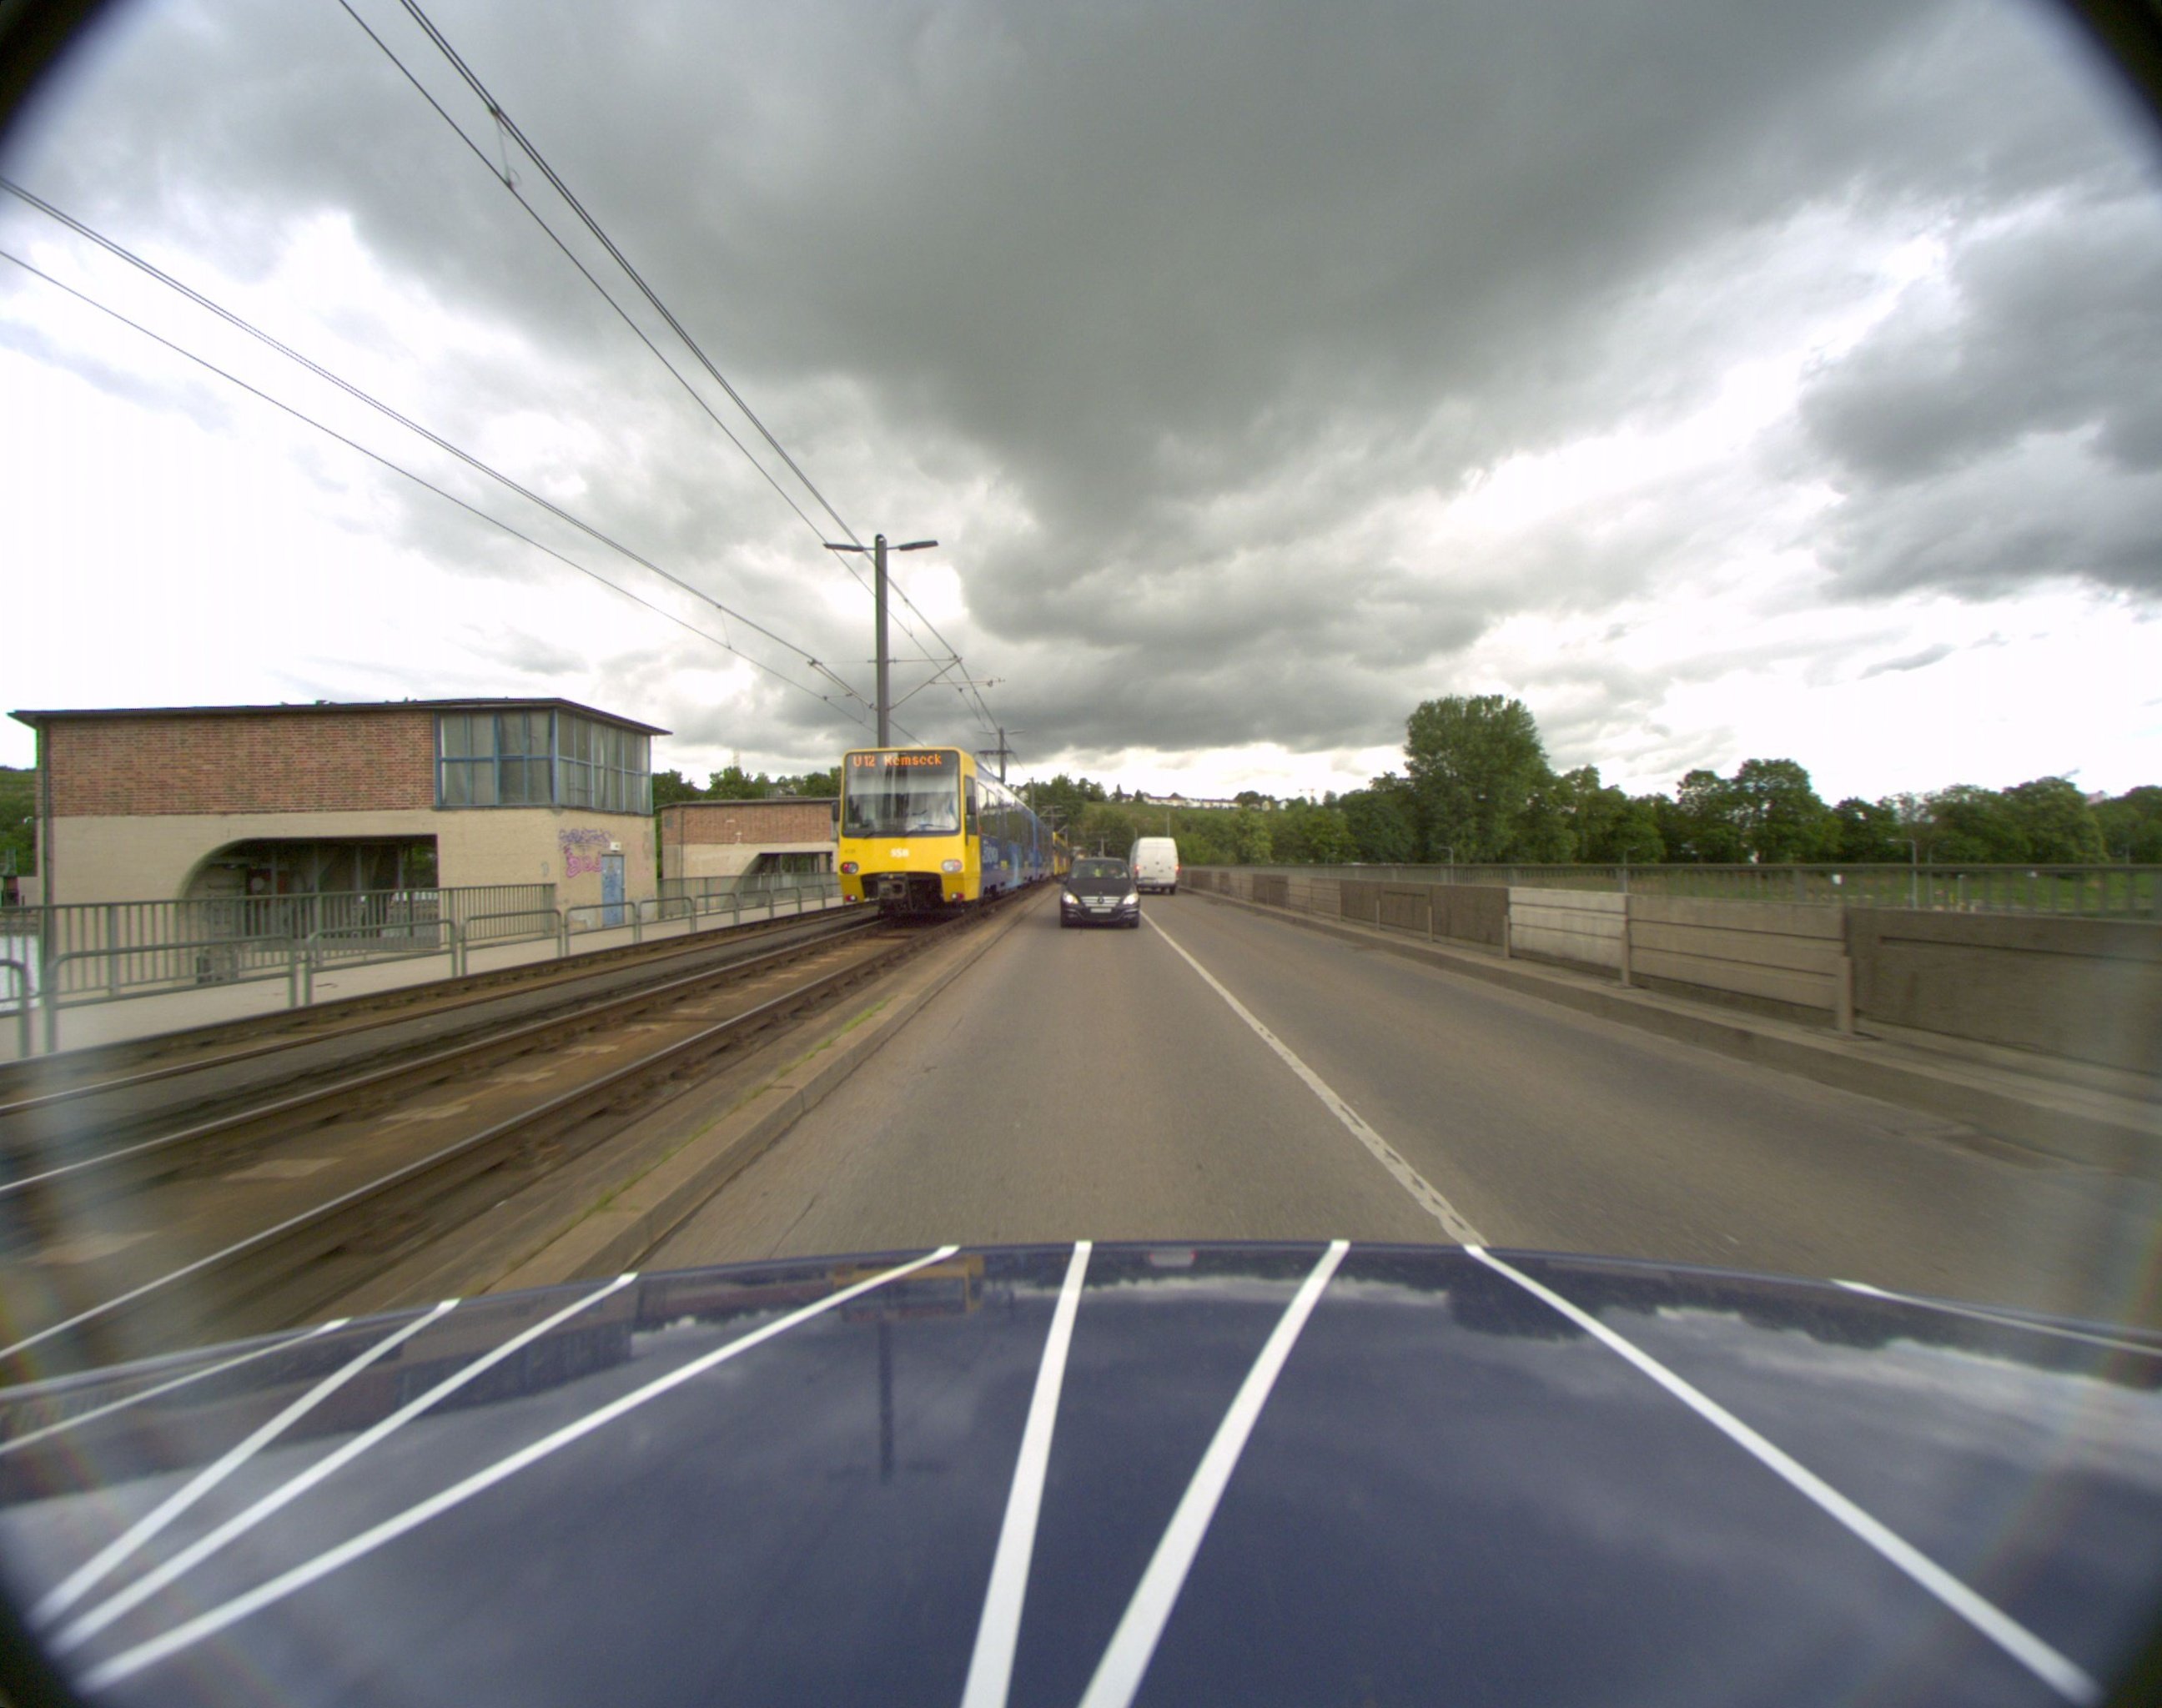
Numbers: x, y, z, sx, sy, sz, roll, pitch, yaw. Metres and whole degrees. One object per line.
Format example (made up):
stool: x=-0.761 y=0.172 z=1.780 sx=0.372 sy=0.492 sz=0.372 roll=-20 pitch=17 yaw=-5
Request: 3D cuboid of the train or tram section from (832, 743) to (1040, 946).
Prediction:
train or tram section: x=-3.247 y=-0.196 z=24.209 sx=2.800 sy=3.742 sz=19.890 roll=-1 pitch=0 yaw=0

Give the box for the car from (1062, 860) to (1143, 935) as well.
car: x=0.482 y=0.943 z=18.457 sx=1.711 sy=1.573 sz=4.442 roll=-1 pitch=0 yaw=0

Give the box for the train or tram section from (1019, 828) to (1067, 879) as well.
train or tram section: x=-2.889 y=0.036 z=63.493 sx=2.837 sy=3.559 sz=18.667 roll=1 pitch=0 yaw=0

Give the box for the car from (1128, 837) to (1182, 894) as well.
car: x=3.539 y=0.553 z=37.627 sx=2.038 sy=2.546 sz=7.008 roll=0 pitch=-1 yaw=1

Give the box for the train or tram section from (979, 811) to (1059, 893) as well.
train or tram section: x=-3.073 y=-0.104 z=44.229 sx=2.791 sy=3.634 sz=19.892 roll=1 pitch=0 yaw=0
